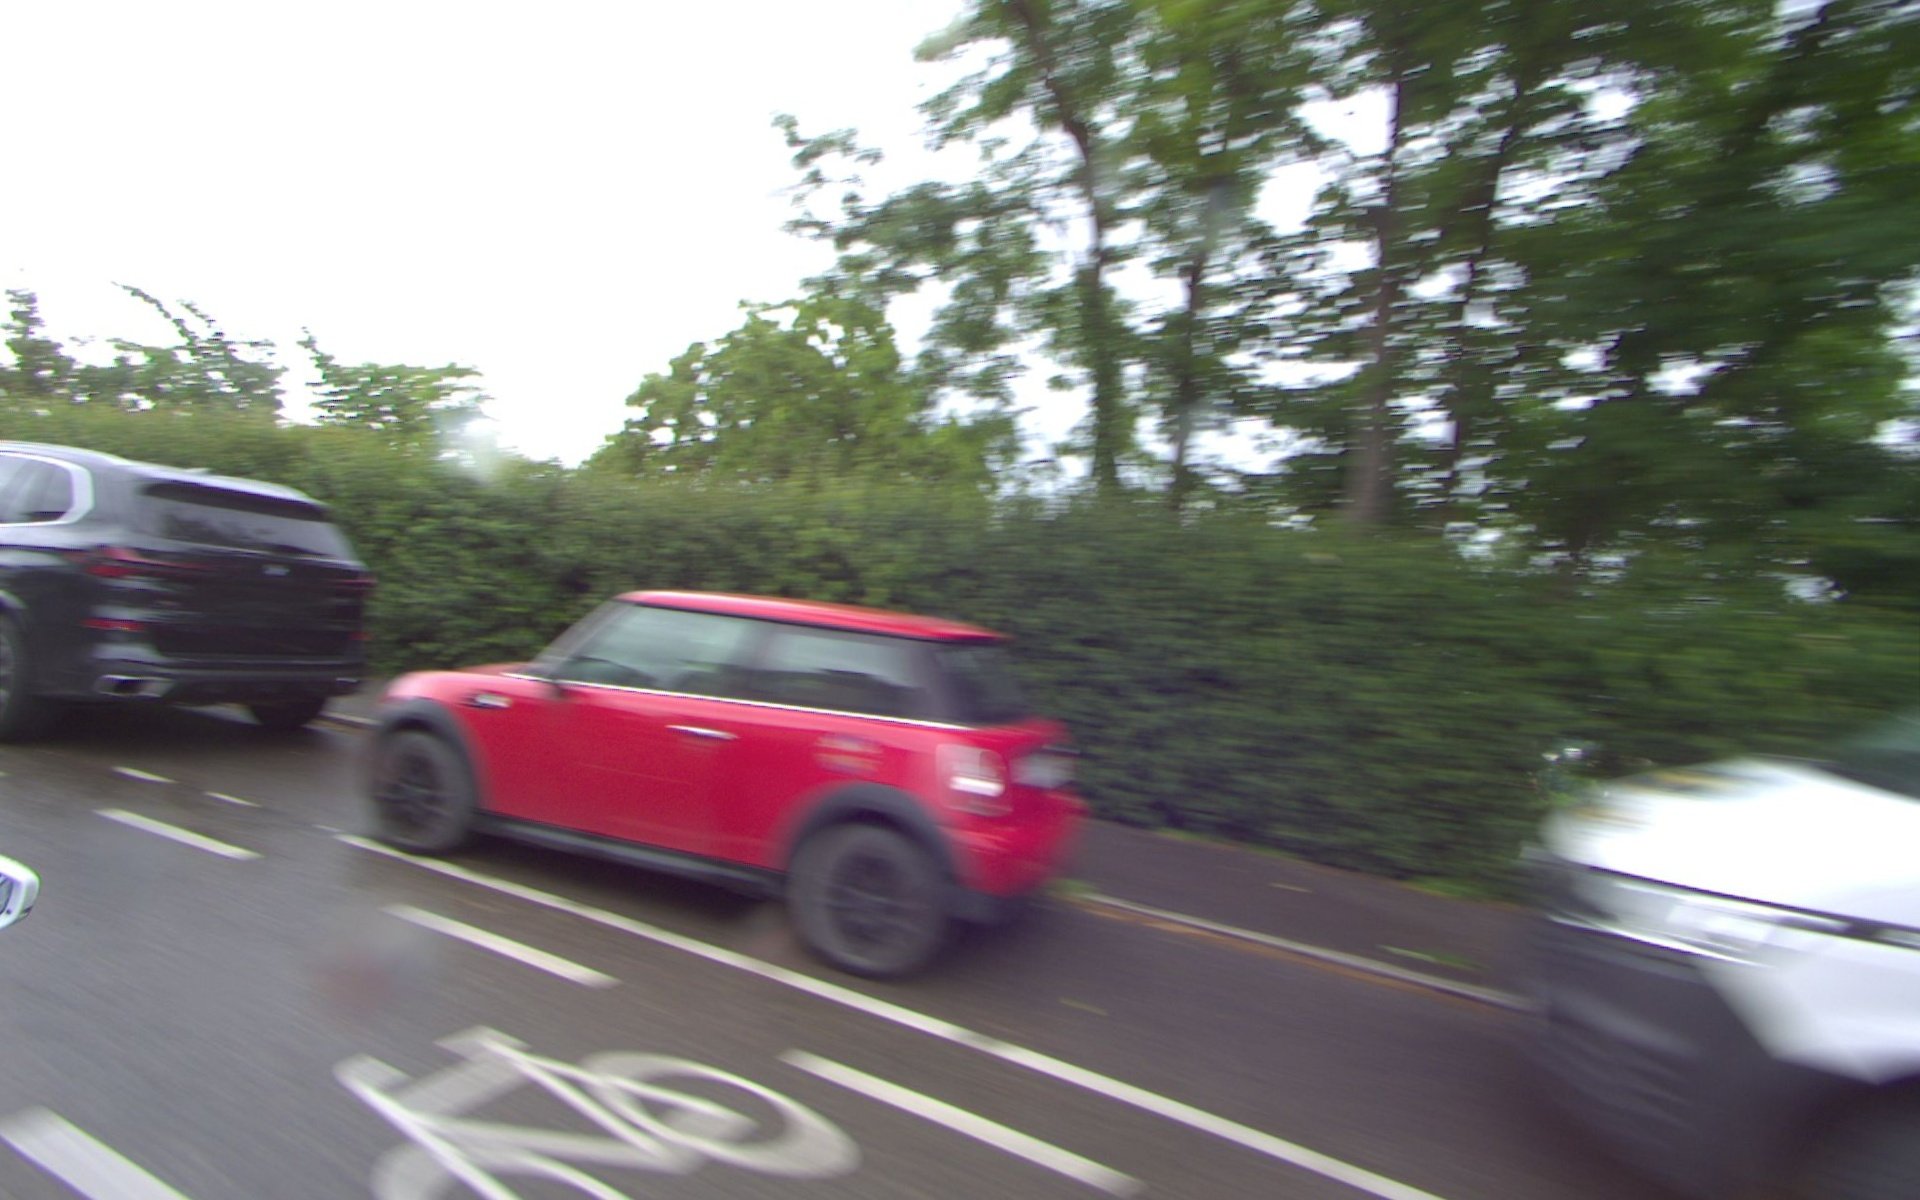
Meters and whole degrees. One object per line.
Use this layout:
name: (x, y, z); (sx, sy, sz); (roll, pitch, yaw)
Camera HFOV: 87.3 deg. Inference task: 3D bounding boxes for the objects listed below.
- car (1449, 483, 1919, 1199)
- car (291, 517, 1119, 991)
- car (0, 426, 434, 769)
car: (3.883, 0.986, 2.307); (4.725, 1.972, 1.863); (7, 0, 29)
car: (-1.246, 0.575, 5.143); (3.673, 1.430, 1.677); (7, -1, 20)
car: (-6.525, -0.192, 7.256); (4.808, 1.803, 2.034); (7, -1, 22)
